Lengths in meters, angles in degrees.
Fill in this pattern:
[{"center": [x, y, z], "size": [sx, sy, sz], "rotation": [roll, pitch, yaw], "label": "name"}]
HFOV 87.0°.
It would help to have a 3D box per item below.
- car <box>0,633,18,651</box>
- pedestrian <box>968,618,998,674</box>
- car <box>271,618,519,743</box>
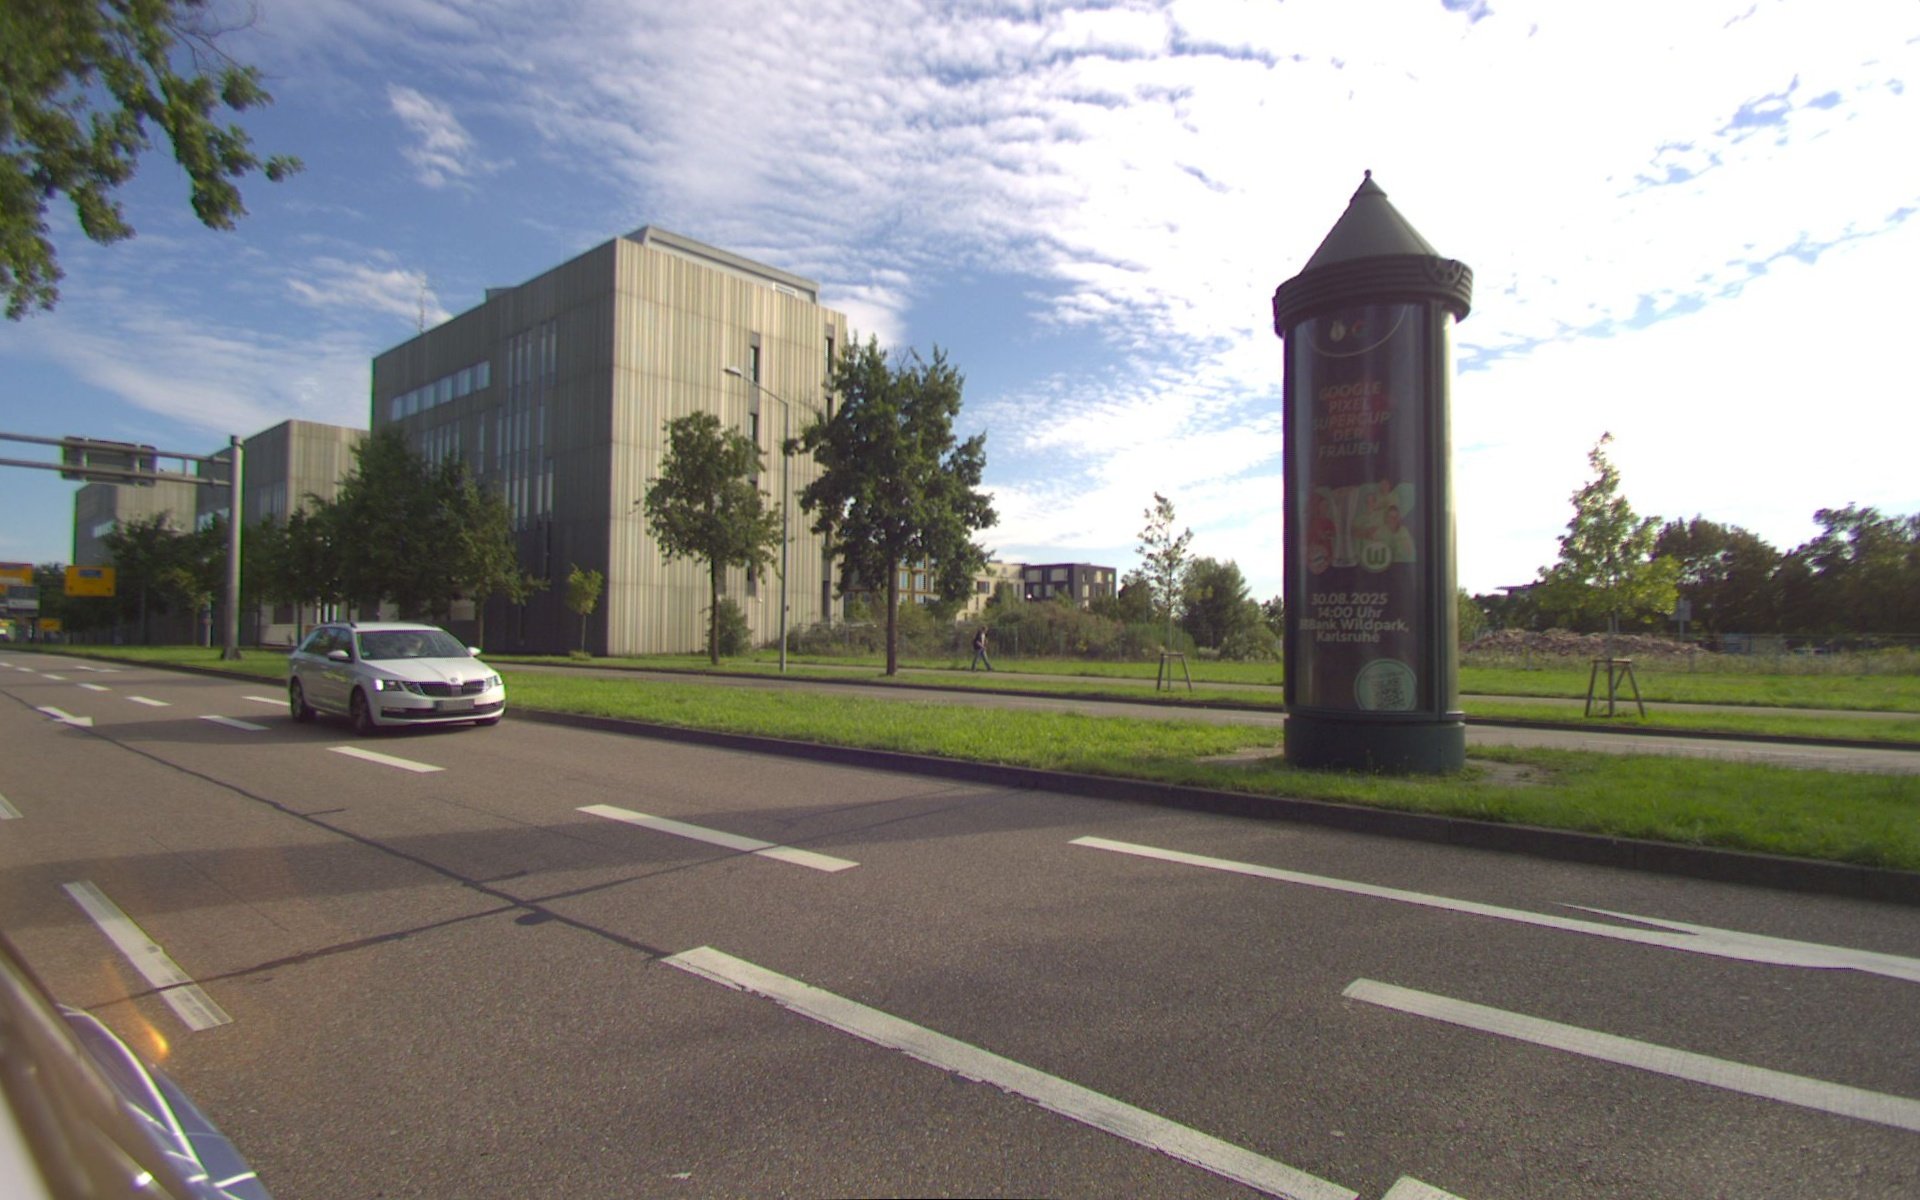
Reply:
[{"center": [-108.691, 4.734, 115.033], "size": [3.998, 2.029, 1.973], "rotation": [-2, -3, 41], "label": "car"}, {"center": [0.832, 1.671, 36.799], "size": [0.867, 2.029, 0.667], "rotation": [-2, -3, 41], "label": "pedestrian"}, {"center": [-8.140, 1.030, 14.400], "size": [4.479, 1.510, 1.681], "rotation": [-1, -2, 41], "label": "car"}]
